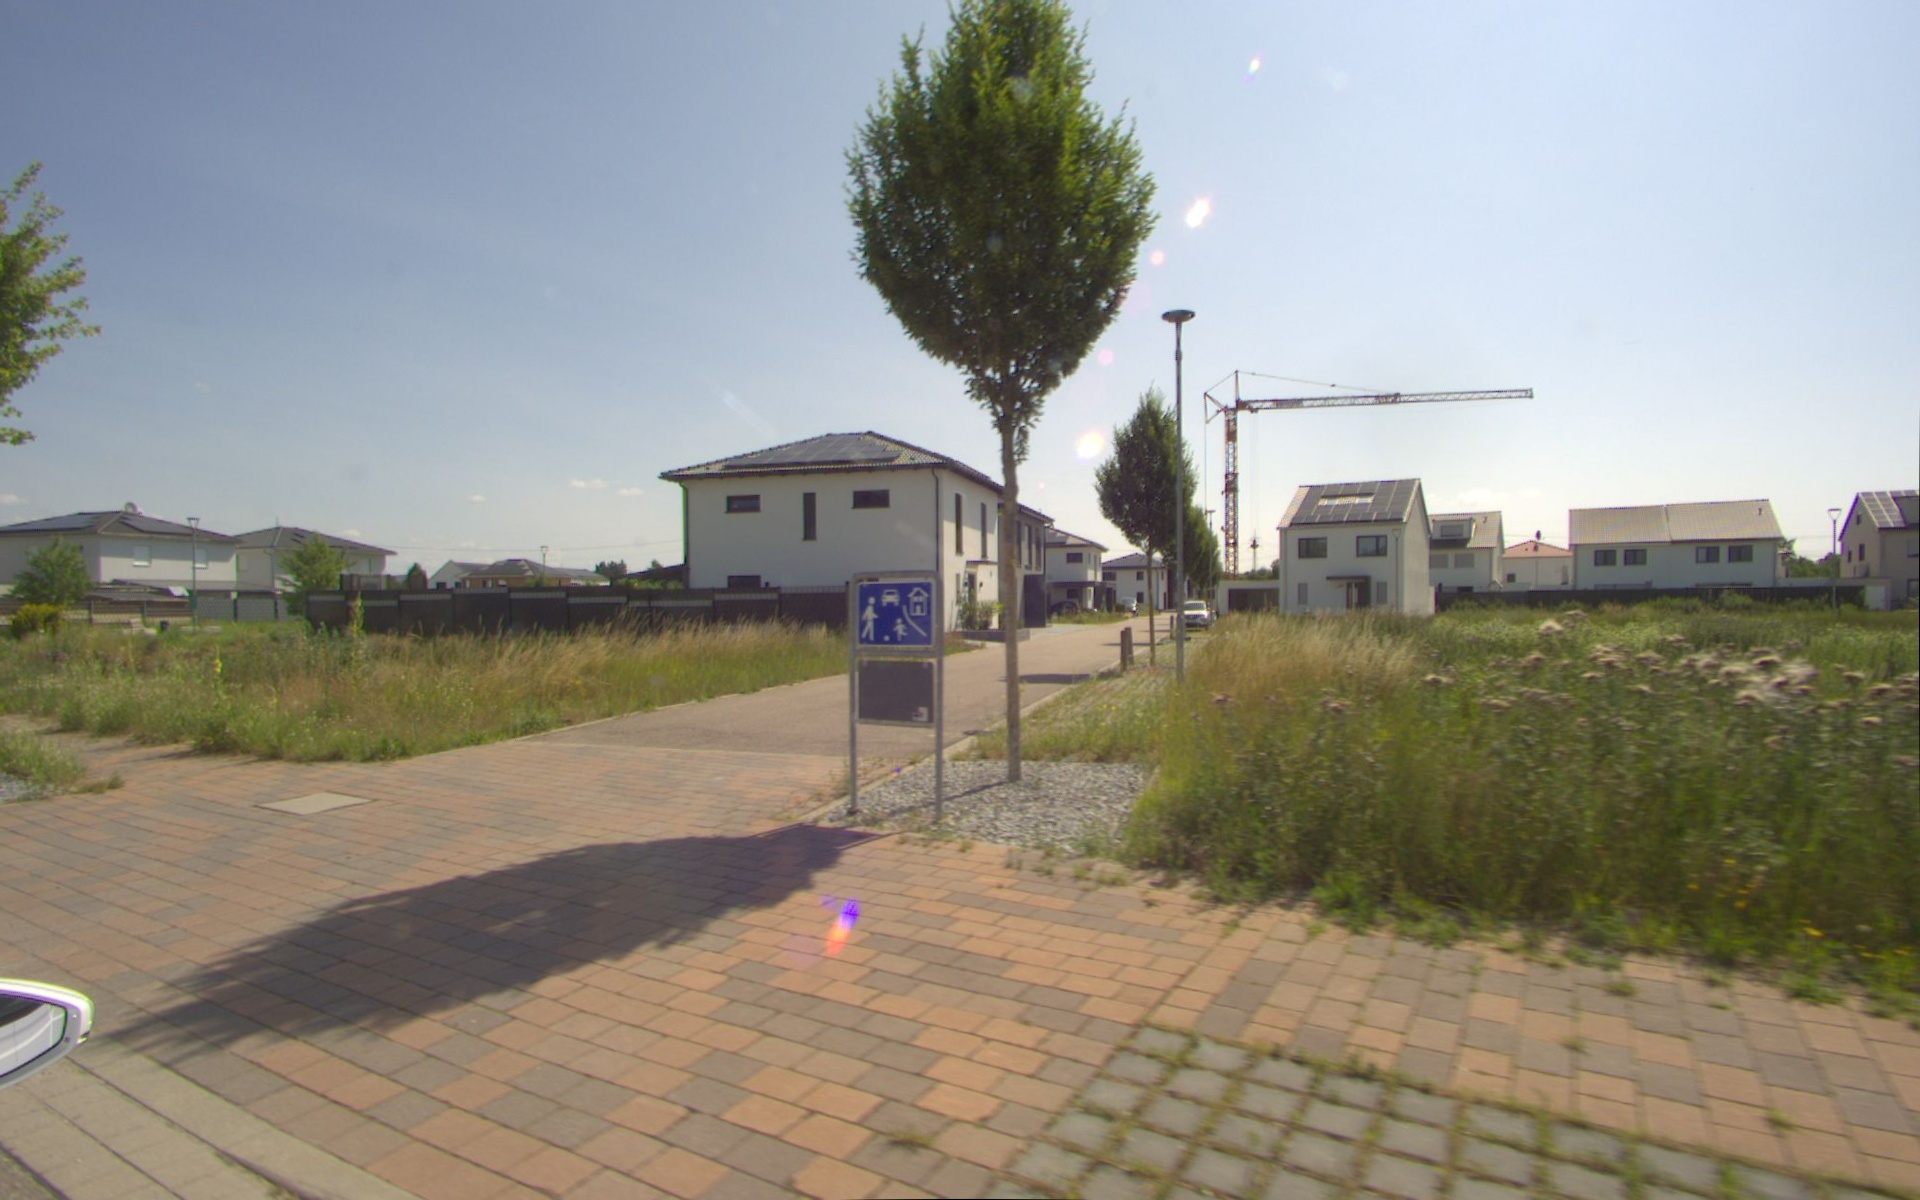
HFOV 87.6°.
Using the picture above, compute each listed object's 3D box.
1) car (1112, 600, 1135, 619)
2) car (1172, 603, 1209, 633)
[{"bbox_3d":[13.357,0.732,81.789,1.564,1.510,3.368,0,0,14],"label":"car"},{"bbox_3d":[11.683,0.872,50.642,1.710,1.461,3.826,0,0,15],"label":"car"}]
